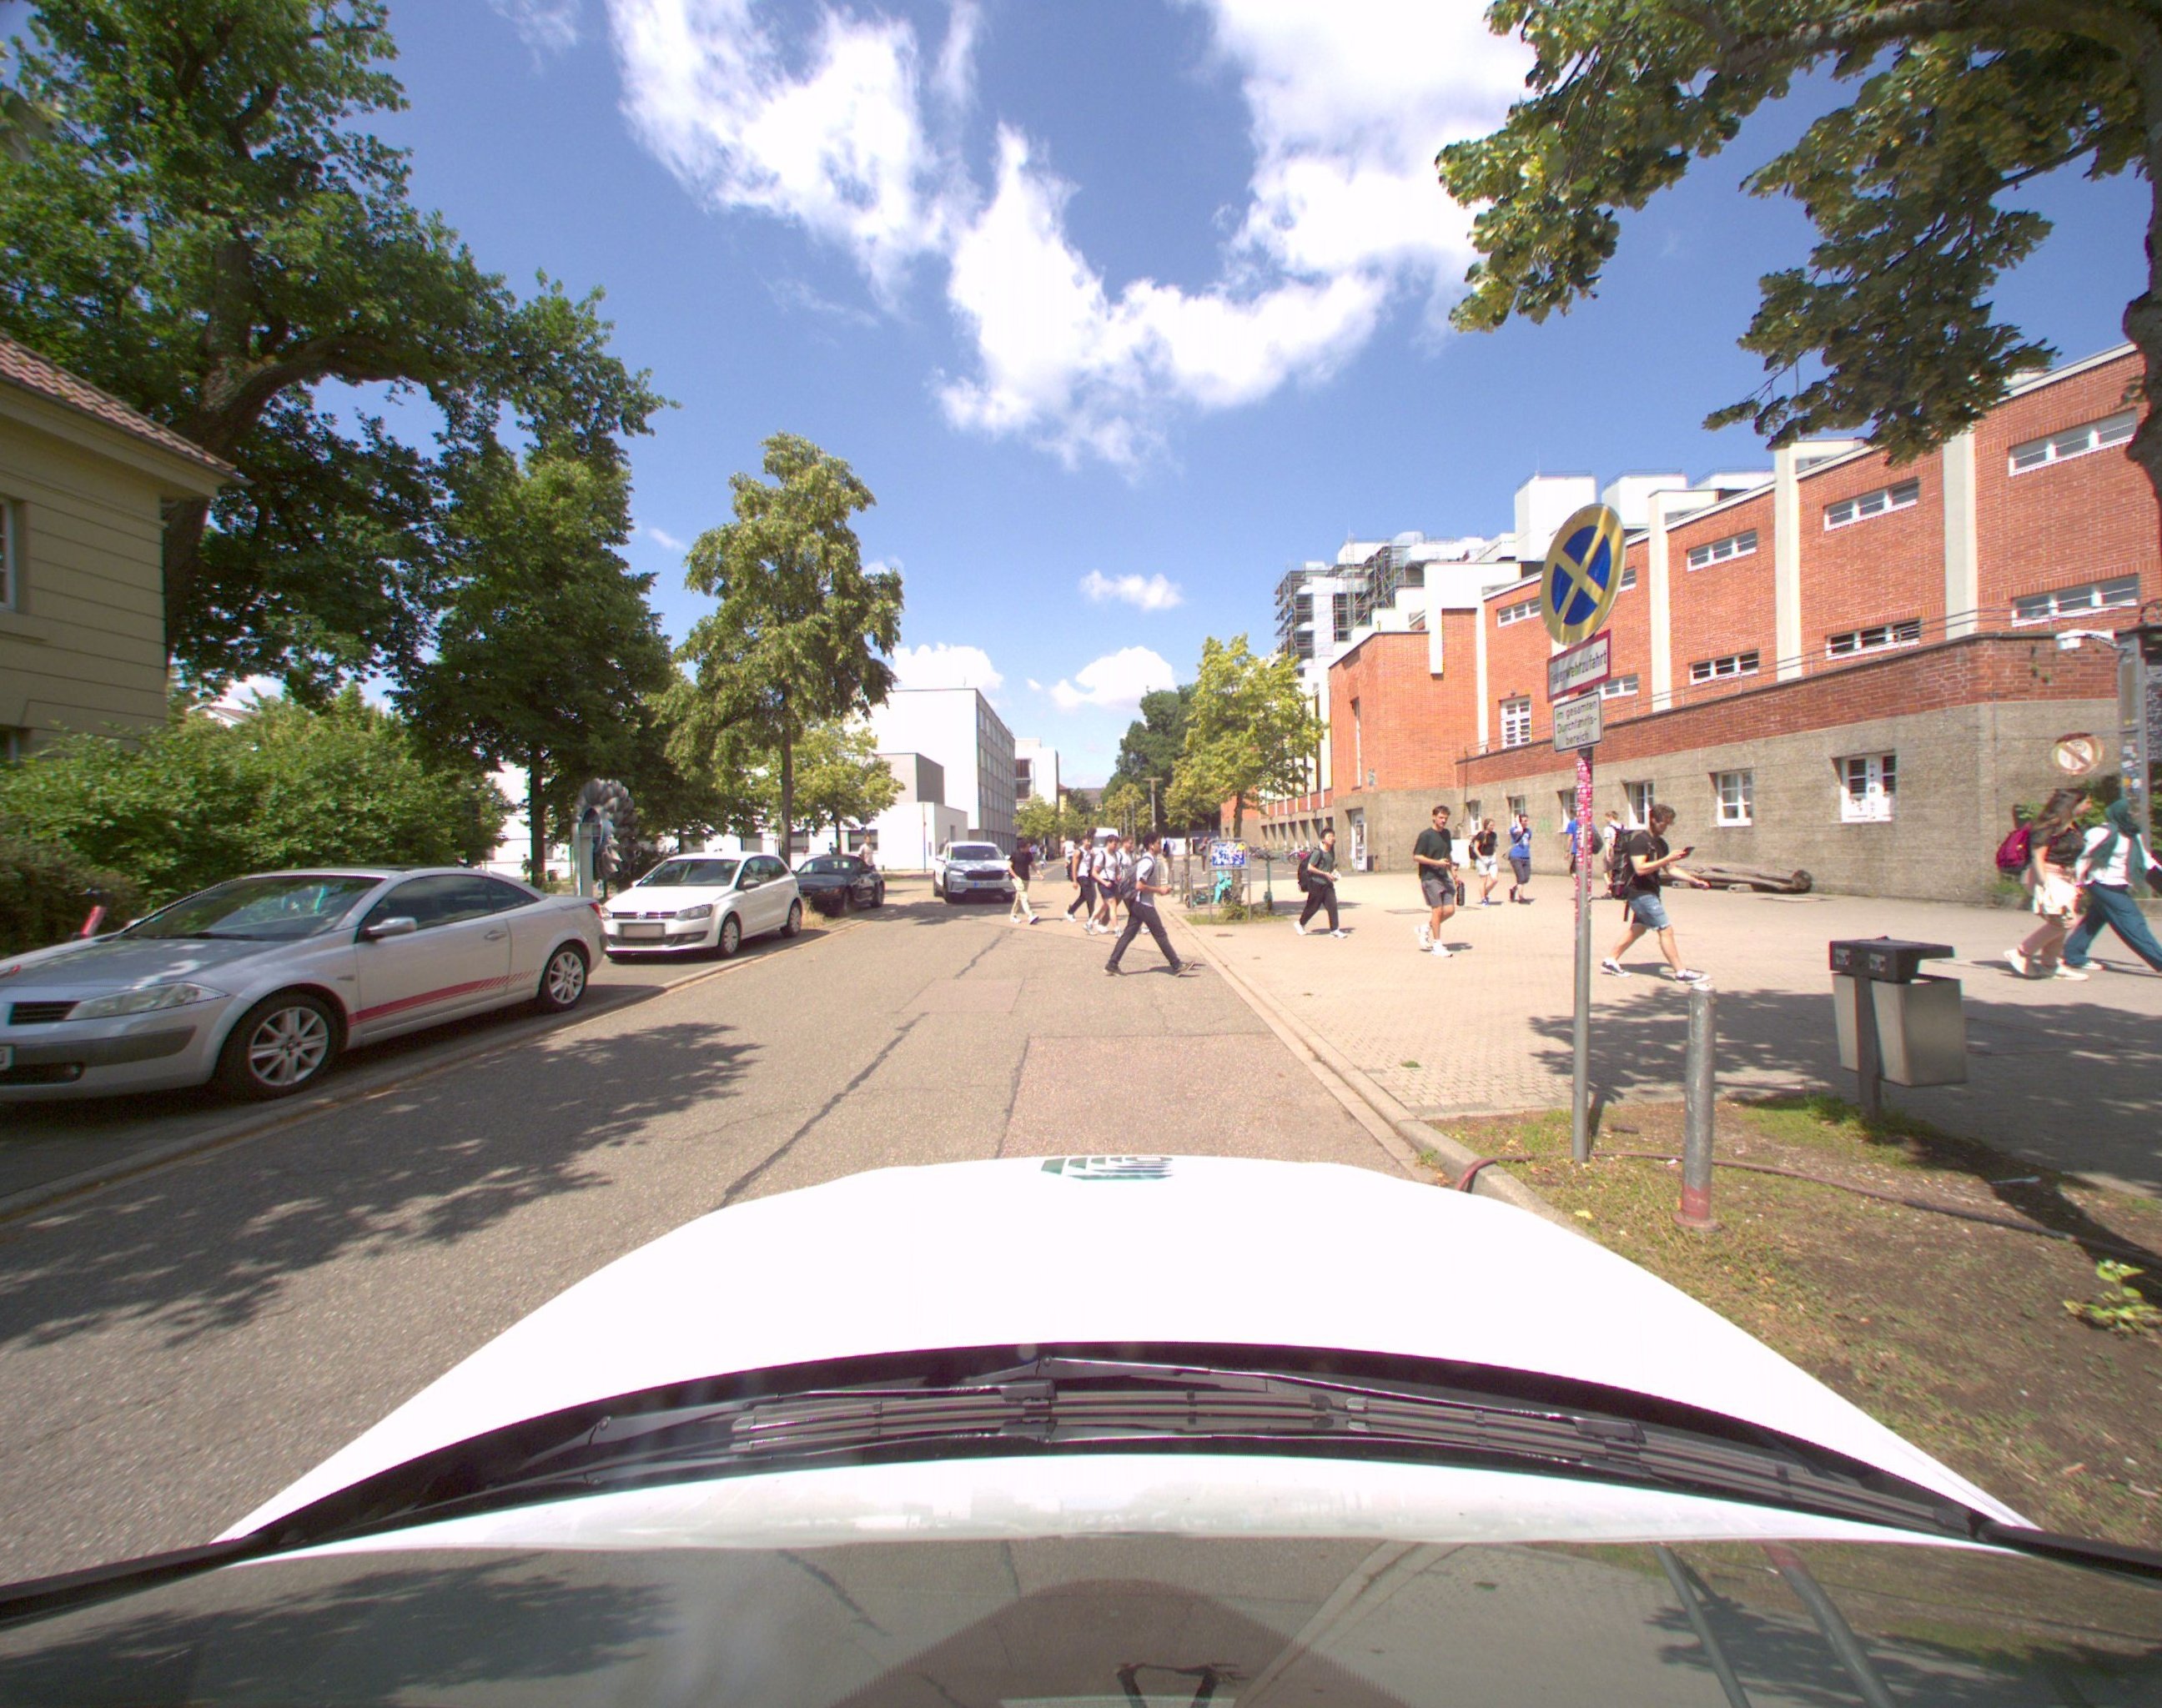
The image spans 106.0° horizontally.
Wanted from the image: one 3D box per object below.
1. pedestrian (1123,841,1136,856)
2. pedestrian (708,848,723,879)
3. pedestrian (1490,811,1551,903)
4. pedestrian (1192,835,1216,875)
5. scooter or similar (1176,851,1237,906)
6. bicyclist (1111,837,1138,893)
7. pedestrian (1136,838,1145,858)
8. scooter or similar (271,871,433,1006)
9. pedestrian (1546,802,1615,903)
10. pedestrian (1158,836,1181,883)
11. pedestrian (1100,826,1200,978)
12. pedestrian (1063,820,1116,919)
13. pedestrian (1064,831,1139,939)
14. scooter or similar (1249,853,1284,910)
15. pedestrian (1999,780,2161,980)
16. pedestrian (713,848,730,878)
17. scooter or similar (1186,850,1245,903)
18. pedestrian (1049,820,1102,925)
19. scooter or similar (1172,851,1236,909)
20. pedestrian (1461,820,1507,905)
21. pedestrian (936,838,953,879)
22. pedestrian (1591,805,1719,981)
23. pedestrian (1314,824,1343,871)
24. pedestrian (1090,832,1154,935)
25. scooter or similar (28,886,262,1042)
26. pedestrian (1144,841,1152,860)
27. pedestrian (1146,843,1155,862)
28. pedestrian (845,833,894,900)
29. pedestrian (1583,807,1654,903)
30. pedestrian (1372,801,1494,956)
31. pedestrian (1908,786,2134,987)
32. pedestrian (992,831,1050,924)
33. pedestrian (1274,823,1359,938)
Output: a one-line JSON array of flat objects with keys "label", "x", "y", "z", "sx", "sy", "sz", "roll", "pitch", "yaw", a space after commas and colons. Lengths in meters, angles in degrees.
[{"label": "pedestrian", "x": 6.683, "y": -0.798, "z": 113.091, "sx": 1.495, "sy": 1.996, "sz": 1.646, "roll": -5, "pitch": 1, "yaw": -1}, {"label": "pedestrian", "x": -21.062, "y": 0.526, "z": 46.962, "sx": 0.549, "sy": 1.764, "sz": 0.586, "roll": -1, "pitch": 0, "yaw": 1}, {"label": "pedestrian", "x": 8.827, "y": 0.057, "z": 16.384, "sx": 0.709, "sy": 1.787, "sz": 0.749, "roll": -3, "pitch": 1, "yaw": -13}, {"label": "pedestrian", "x": 5.571, "y": 0.036, "z": 36.873, "sx": 0.850, "sy": 1.732, "sz": 1.160, "roll": -2, "pitch": 0, "yaw": 0}, {"label": "scooter or similar", "x": 3.025, "y": 0.578, "z": 19.598, "sx": 1.248, "sy": 1.265, "sz": 0.655, "roll": -2, "pitch": 1, "yaw": 33}, {"label": "bicyclist", "x": 1.361, "y": 0.322, "z": 25.300, "sx": 0.714, "sy": 1.662, "sz": 1.096, "roll": -3, "pitch": 0, "yaw": 5}, {"label": "pedestrian", "x": 5.785, "y": -0.566, "z": 79.417, "sx": 0.787, "sy": 1.859, "sz": 1.244, "roll": -2, "pitch": 0, "yaw": 2}, {"label": "scooter or similar", "x": -7.928, "y": 0.874, "z": 8.929, "sx": 0.522, "sy": 1.287, "sz": 1.229, "roll": -5, "pitch": 1, "yaw": 1}, {"label": "pedestrian", "x": 9.827, "y": -0.041, "z": 16.068, "sx": 0.698, "sy": 1.891, "sz": 0.995, "roll": -4, "pitch": 1, "yaw": 4}, {"label": "pedestrian", "x": 3.310, "y": 0.182, "z": 30.471, "sx": 0.700, "sy": 1.694, "sz": 0.962, "roll": -2, "pitch": 1, "yaw": 1}, {"label": "pedestrian", "x": 0.823, "y": 0.558, "z": 9.640, "sx": 1.099, "sy": 1.716, "sz": 0.711, "roll": -1, "pitch": -1, "yaw": 6}, {"label": "pedestrian", "x": 0.178, "y": 0.301, "z": 16.738, "sx": 0.819, "sy": 1.980, "sz": 0.695, "roll": -1, "pitch": 1, "yaw": 22}, {"label": "pedestrian", "x": 0.344, "y": 0.500, "z": 13.678, "sx": 0.971, "sy": 1.739, "sz": 0.705, "roll": -1, "pitch": 1, "yaw": 39}, {"label": "scooter or similar", "x": 4.117, "y": 0.591, "z": 18.035, "sx": 0.643, "sy": 1.160, "sz": 1.270, "roll": -2, "pitch": 1, "yaw": 16}, {"label": "pedestrian", "x": 9.312, "y": 0.196, "z": 7.359, "sx": 0.873, "sy": 1.637, "sz": 0.948, "roll": -6, "pitch": 1, "yaw": -2}, {"label": "pedestrian", "x": -21.064, "y": 0.522, "z": 47.723, "sx": 0.690, "sy": 1.749, "sz": 0.636, "roll": -1, "pitch": 0, "yaw": 1}, {"label": "scooter or similar", "x": 3.364, "y": 0.554, "z": 20.408, "sx": 1.248, "sy": 1.265, "sz": 0.644, "roll": -2, "pitch": 1, "yaw": 33}, {"label": "pedestrian", "x": -0.112, "y": 0.359, "z": 15.914, "sx": 0.620, "sy": 1.980, "sz": 0.821, "roll": -2, "pitch": -1, "yaw": -30}, {"label": "scooter or similar", "x": 2.839, "y": 0.595, "z": 18.825, "sx": 1.248, "sy": 1.265, "sz": 0.655, "roll": -2, "pitch": 1, "yaw": 33}, {"label": "pedestrian", "x": 8.017, "y": 0.170, "z": 16.219, "sx": 0.501, "sy": 1.631, "sz": 0.569, "roll": -2, "pitch": -1, "yaw": -11}, {"label": "pedestrian", "x": -6.027, "y": 0.203, "z": 36.029, "sx": 0.667, "sy": 1.785, "sz": 0.981, "roll": -1, "pitch": -1, "yaw": -12}, {"label": "pedestrian", "x": 5.660, "y": 0.348, "z": 8.028, "sx": 0.855, "sy": 1.595, "sz": 0.820, "roll": -4, "pitch": 1, "yaw": -42}, {"label": "pedestrian", "x": 10.100, "y": -0.280, "z": 33.316, "sx": 0.787, "sy": 1.859, "sz": 1.116, "roll": -2, "pitch": 0, "yaw": 0}, {"label": "pedestrian", "x": 0.719, "y": 0.495, "z": 14.281, "sx": 0.897, "sy": 1.739, "sz": 0.683, "roll": -1, "pitch": -1, "yaw": 39}, {"label": "scooter or similar", "x": -8.099, "y": 0.901, "z": 7.111, "sx": 0.466, "sy": 1.171, "sz": 1.234, "roll": -1, "pitch": 0, "yaw": 21}, {"label": "pedestrian", "x": 6.759, "y": -0.322, "z": 82.188, "sx": 0.787, "sy": 1.859, "sz": 1.026, "roll": -2, "pitch": 0, "yaw": 2}, {"label": "pedestrian", "x": 6.765, "y": -0.156, "z": 78.938, "sx": 0.787, "sy": 1.859, "sz": 1.026, "roll": -2, "pitch": 0, "yaw": 2}, {"label": "pedestrian", "x": -6.200, "y": 0.350, "z": 23.809, "sx": 1.022, "sy": 1.903, "sz": 1.166, "roll": 0, "pitch": 0, "yaw": -35}, {"label": "pedestrian", "x": 10.615, "y": 0.009, "z": 16.114, "sx": 0.698, "sy": 1.803, "sz": 0.995, "roll": -4, "pitch": 1, "yaw": 4}, {"label": "pedestrian", "x": 4.516, "y": 0.288, "z": 10.493, "sx": 0.857, "sy": 1.859, "sz": 1.106, "roll": -2, "pitch": 0, "yaw": -29}, {"label": "pedestrian", "x": 8.389, "y": 0.267, "z": 7.327, "sx": 0.872, "sy": 1.638, "sz": 0.949, "roll": -3, "pitch": 0, "yaw": 1}, {"label": "pedestrian", "x": -1.174, "y": 0.442, "z": 16.167, "sx": 0.794, "sy": 1.772, "sz": 0.859, "roll": -1, "pitch": 1, "yaw": 22}, {"label": "pedestrian", "x": 3.736, "y": 0.401, "z": 12.927, "sx": 0.708, "sy": 1.719, "sz": 0.981, "roll": -5, "pitch": 2, "yaw": -44}]
